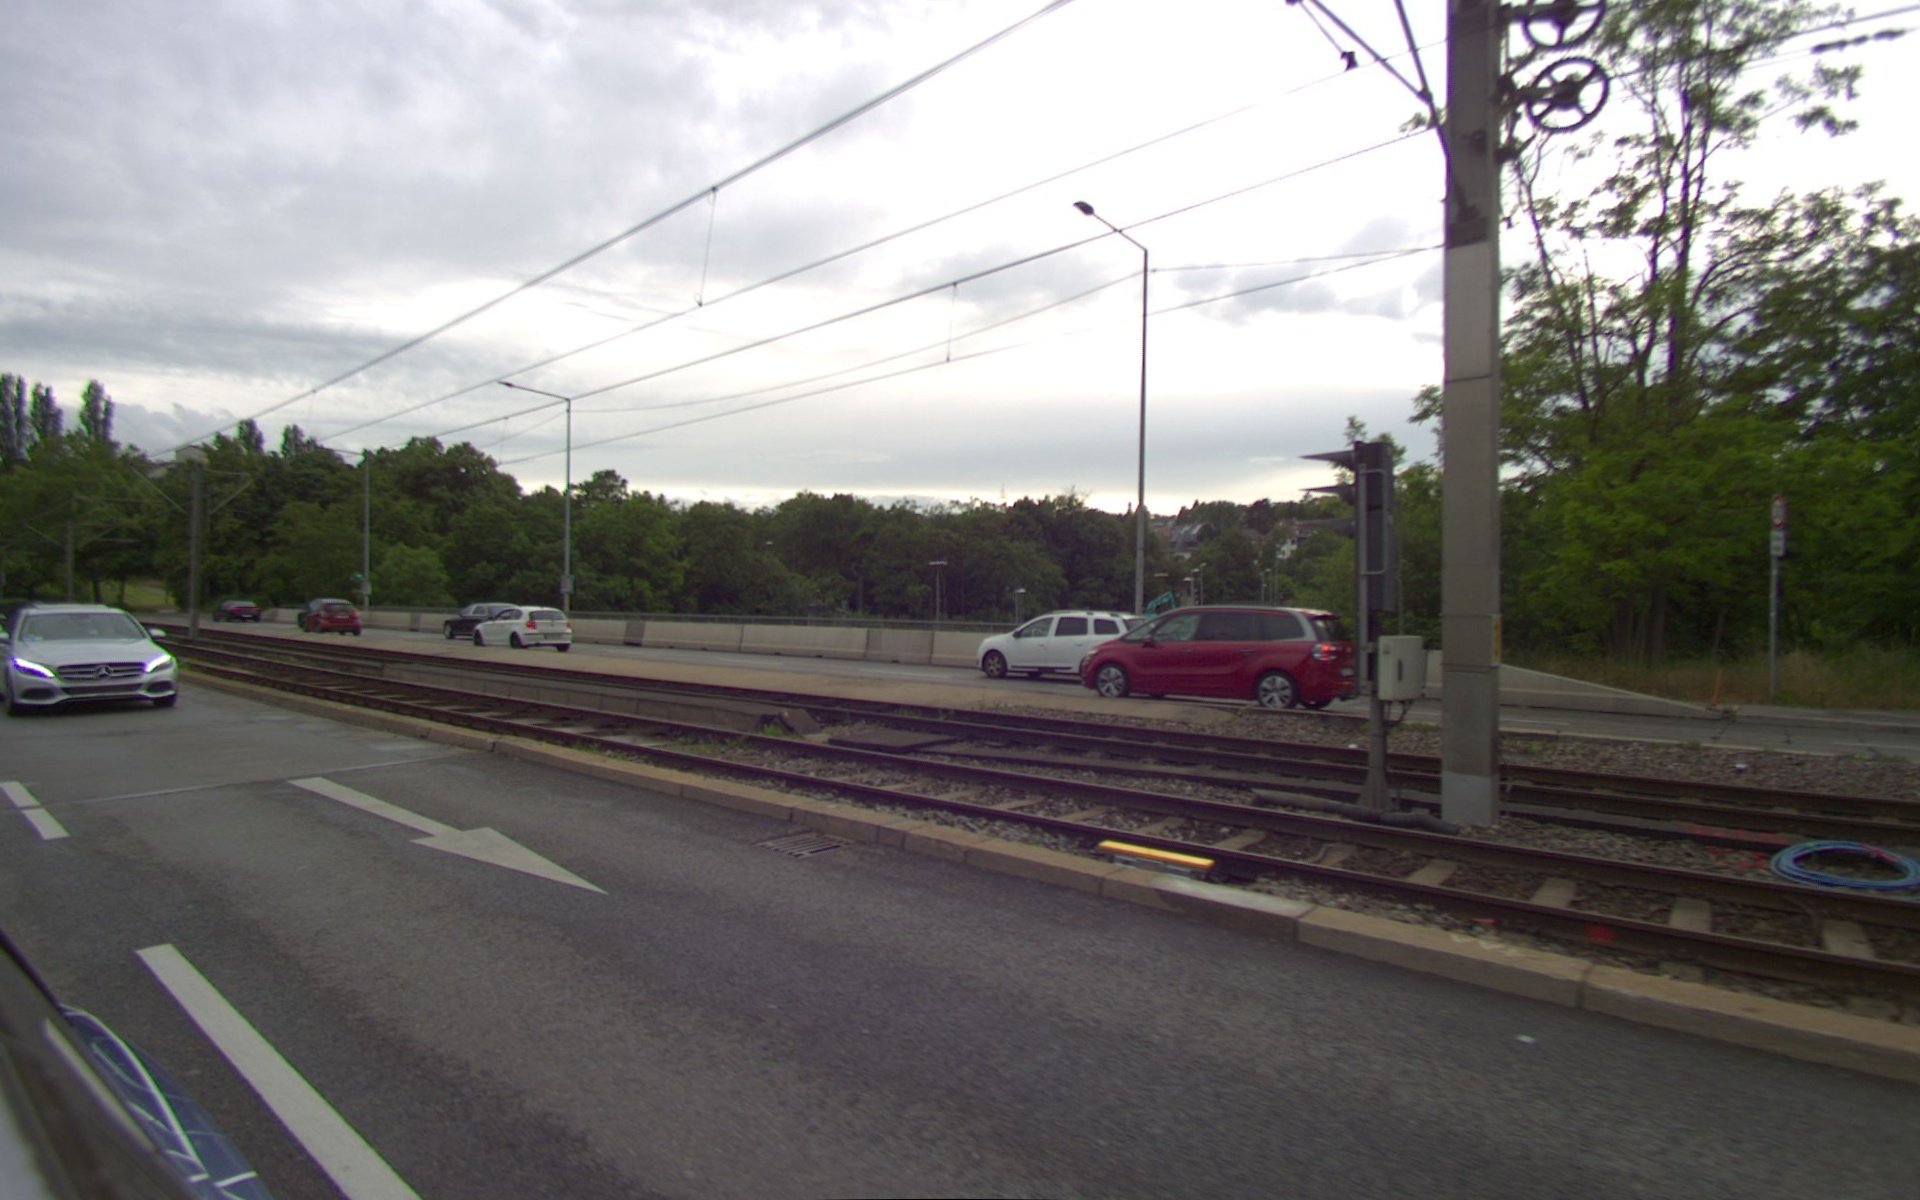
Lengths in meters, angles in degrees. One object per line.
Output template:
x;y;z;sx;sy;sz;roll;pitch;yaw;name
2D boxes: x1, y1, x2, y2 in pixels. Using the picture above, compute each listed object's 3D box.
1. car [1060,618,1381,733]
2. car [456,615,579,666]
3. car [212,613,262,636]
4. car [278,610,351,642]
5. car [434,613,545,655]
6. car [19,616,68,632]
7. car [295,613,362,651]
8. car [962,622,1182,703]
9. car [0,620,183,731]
4.096;1.121;16.395;4.727;1.609;1.829;-1;-3;40;car
-14.231;1.264;32.453;4.487;1.448;1.713;1;-2;39;car
-48.552;1.631;67.930;4.740;1.447;1.797;-1;-1;42;car
-34.696;1.397;54.369;4.726;1.609;1.878;-1;-3;39;car
-19.110;1.361;41.014;5.178;1.609;1.950;-1;-3;39;car
-82.779;2.137;91.398;4.597;1.324;1.825;-1;0;28;car
-27.897;1.397;44.677;3.014;1.504;1.585;1;-1;39;car
2.357;1.271;21.995;4.524;1.526;1.803;0;-1;39;car
-12.846;0.985;14.669;4.060;1.366;1.846;-1;-2;43;car
